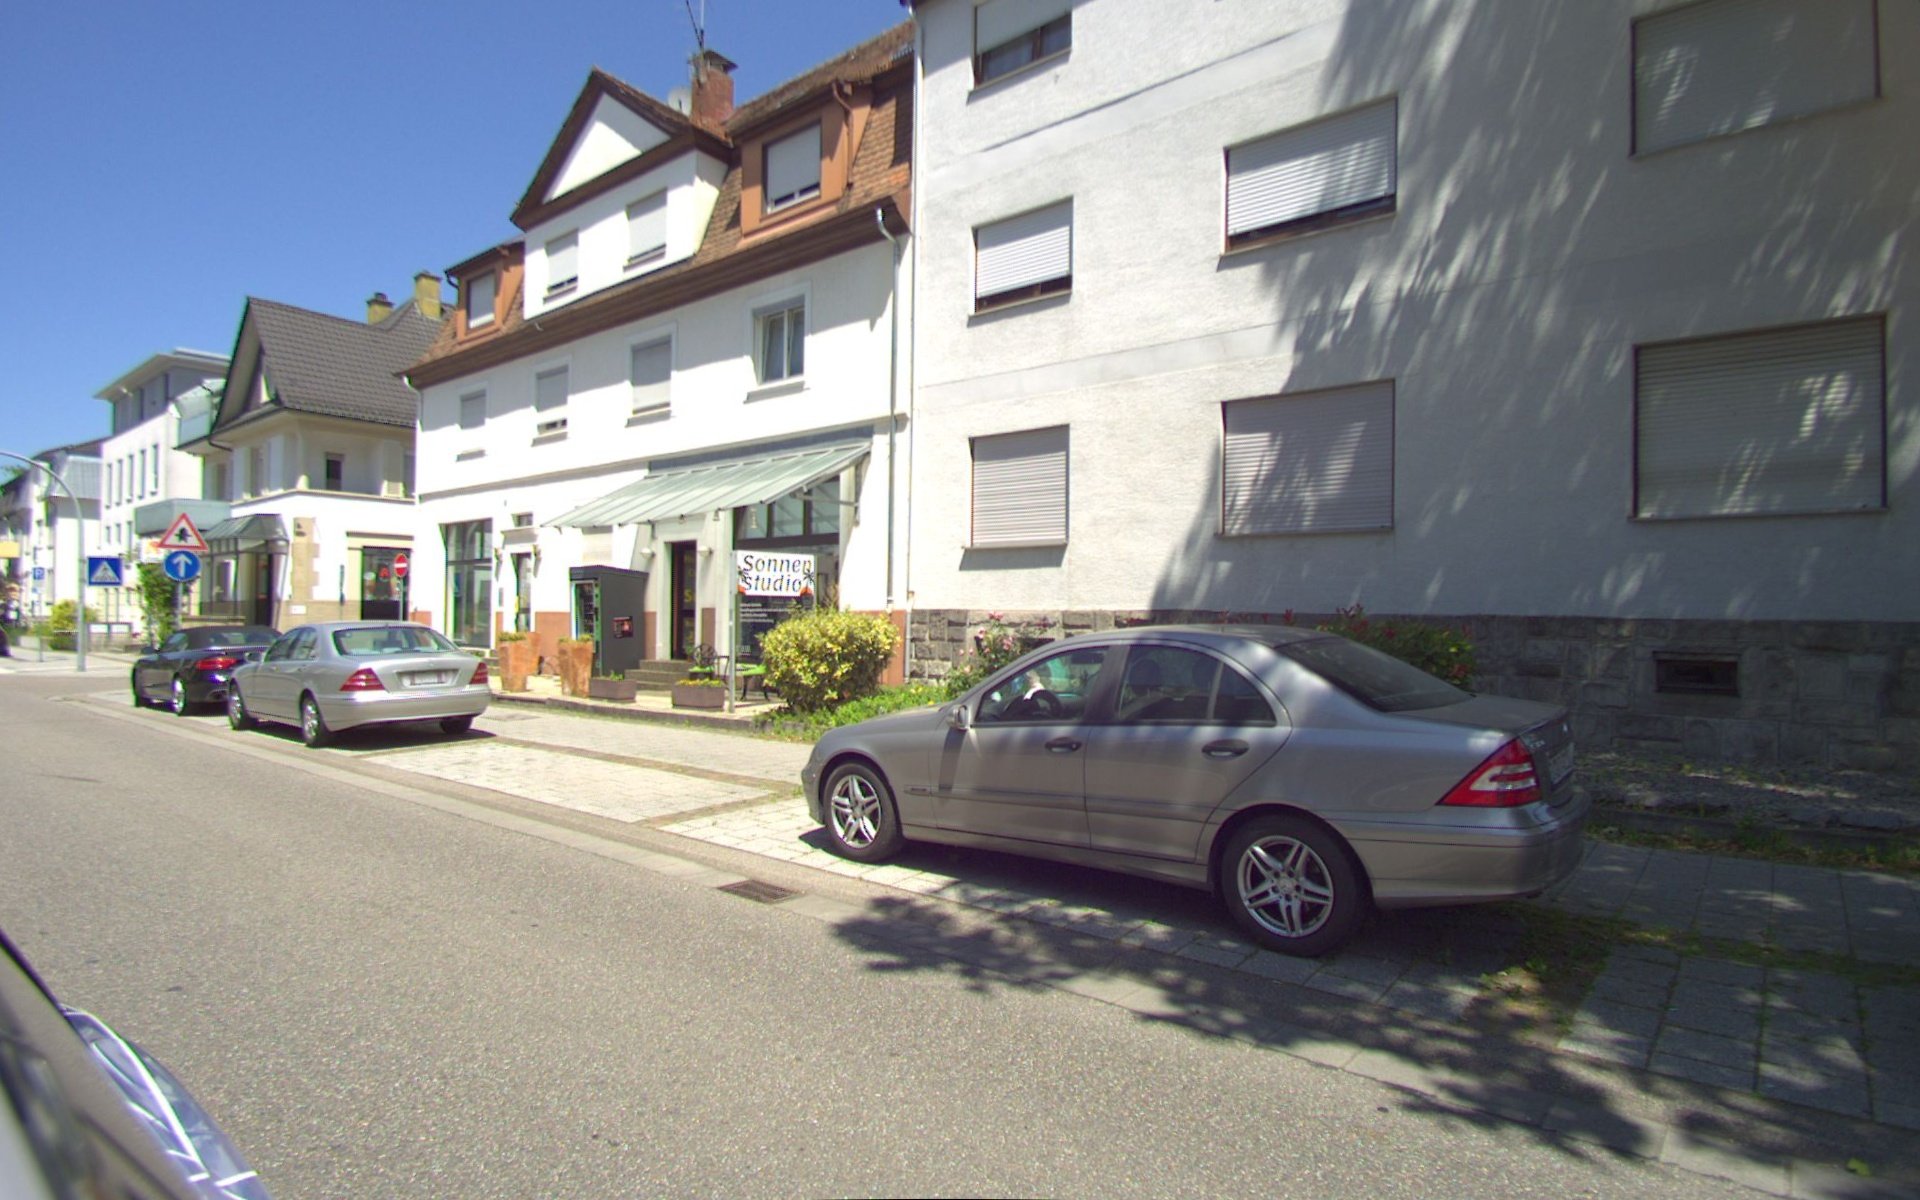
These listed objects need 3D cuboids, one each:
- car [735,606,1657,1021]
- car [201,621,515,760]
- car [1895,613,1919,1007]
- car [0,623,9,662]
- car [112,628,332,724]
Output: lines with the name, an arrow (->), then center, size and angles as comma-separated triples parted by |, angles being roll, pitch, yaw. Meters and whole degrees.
car -> 1.016, 0.801, 5.887 | 4.863, 1.463, 1.961 | -1, -1, 39
car -> -8.058, 1.028, 13.294 | 5.354, 1.463, 1.960 | -1, -1, 41
car -> 5.261, 0.734, 1.779 | 5.145, 1.463, 1.961 | -1, -1, 39
car -> -38.375, 1.665, 39.034 | 5.146, 1.463, 1.897 | -1, 1, 41
car -> -12.663, 1.186, 17.238 | 5.095, 1.384, 1.922 | -1, -2, 41
